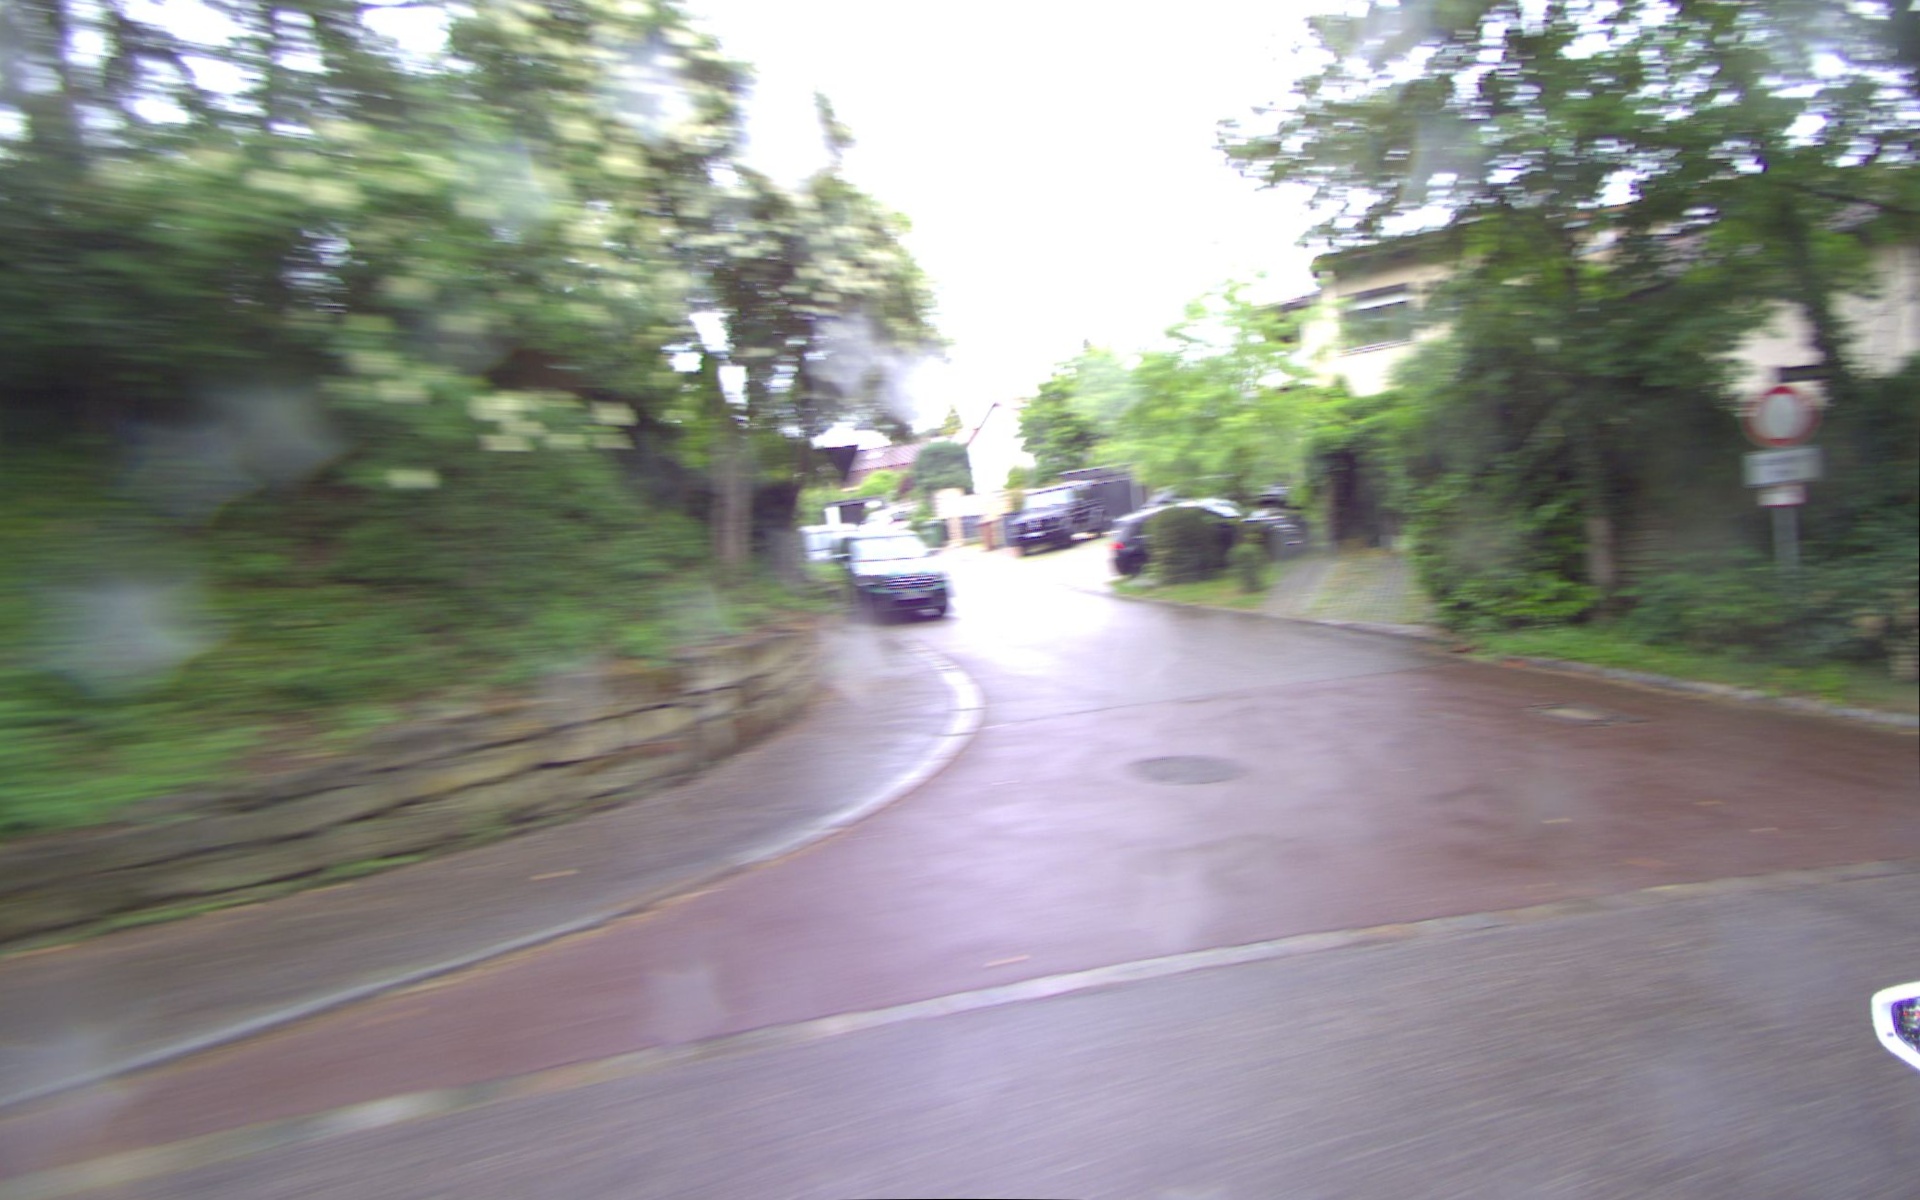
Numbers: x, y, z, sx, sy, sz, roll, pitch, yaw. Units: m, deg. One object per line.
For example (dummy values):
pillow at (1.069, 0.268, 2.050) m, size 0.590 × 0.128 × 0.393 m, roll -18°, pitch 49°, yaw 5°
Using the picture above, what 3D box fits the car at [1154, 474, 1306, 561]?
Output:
car at (6.848, -2.079, 25.471) m, size 3.347 × 1.596 × 1.591 m, roll -4°, pitch 11°, yaw 28°

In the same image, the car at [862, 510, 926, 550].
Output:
car at (-3.183, -3.308, 48.020) m, size 1.785 × 1.774 × 3.975 m, roll 0°, pitch 2°, yaw -24°

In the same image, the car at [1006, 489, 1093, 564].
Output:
car at (2.962, -2.423, 32.296) m, size 1.858 × 1.636 × 3.999 m, roll -10°, pitch 8°, yaw 17°

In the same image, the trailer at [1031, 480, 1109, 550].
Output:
trailer at (4.010, -3.107, 36.014) m, size 1.858 × 1.802 × 3.999 m, roll -9°, pitch 8°, yaw 17°

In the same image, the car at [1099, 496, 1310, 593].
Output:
car at (5.122, -1.145, 21.009) m, size 3.927 × 1.436 × 1.697 m, roll -5°, pitch 7°, yaw 26°

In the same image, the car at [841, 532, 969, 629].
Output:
car at (-1.166, -0.470, 19.347) m, size 1.806 × 1.482 × 3.990 m, roll -5°, pitch 6°, yaw -11°
